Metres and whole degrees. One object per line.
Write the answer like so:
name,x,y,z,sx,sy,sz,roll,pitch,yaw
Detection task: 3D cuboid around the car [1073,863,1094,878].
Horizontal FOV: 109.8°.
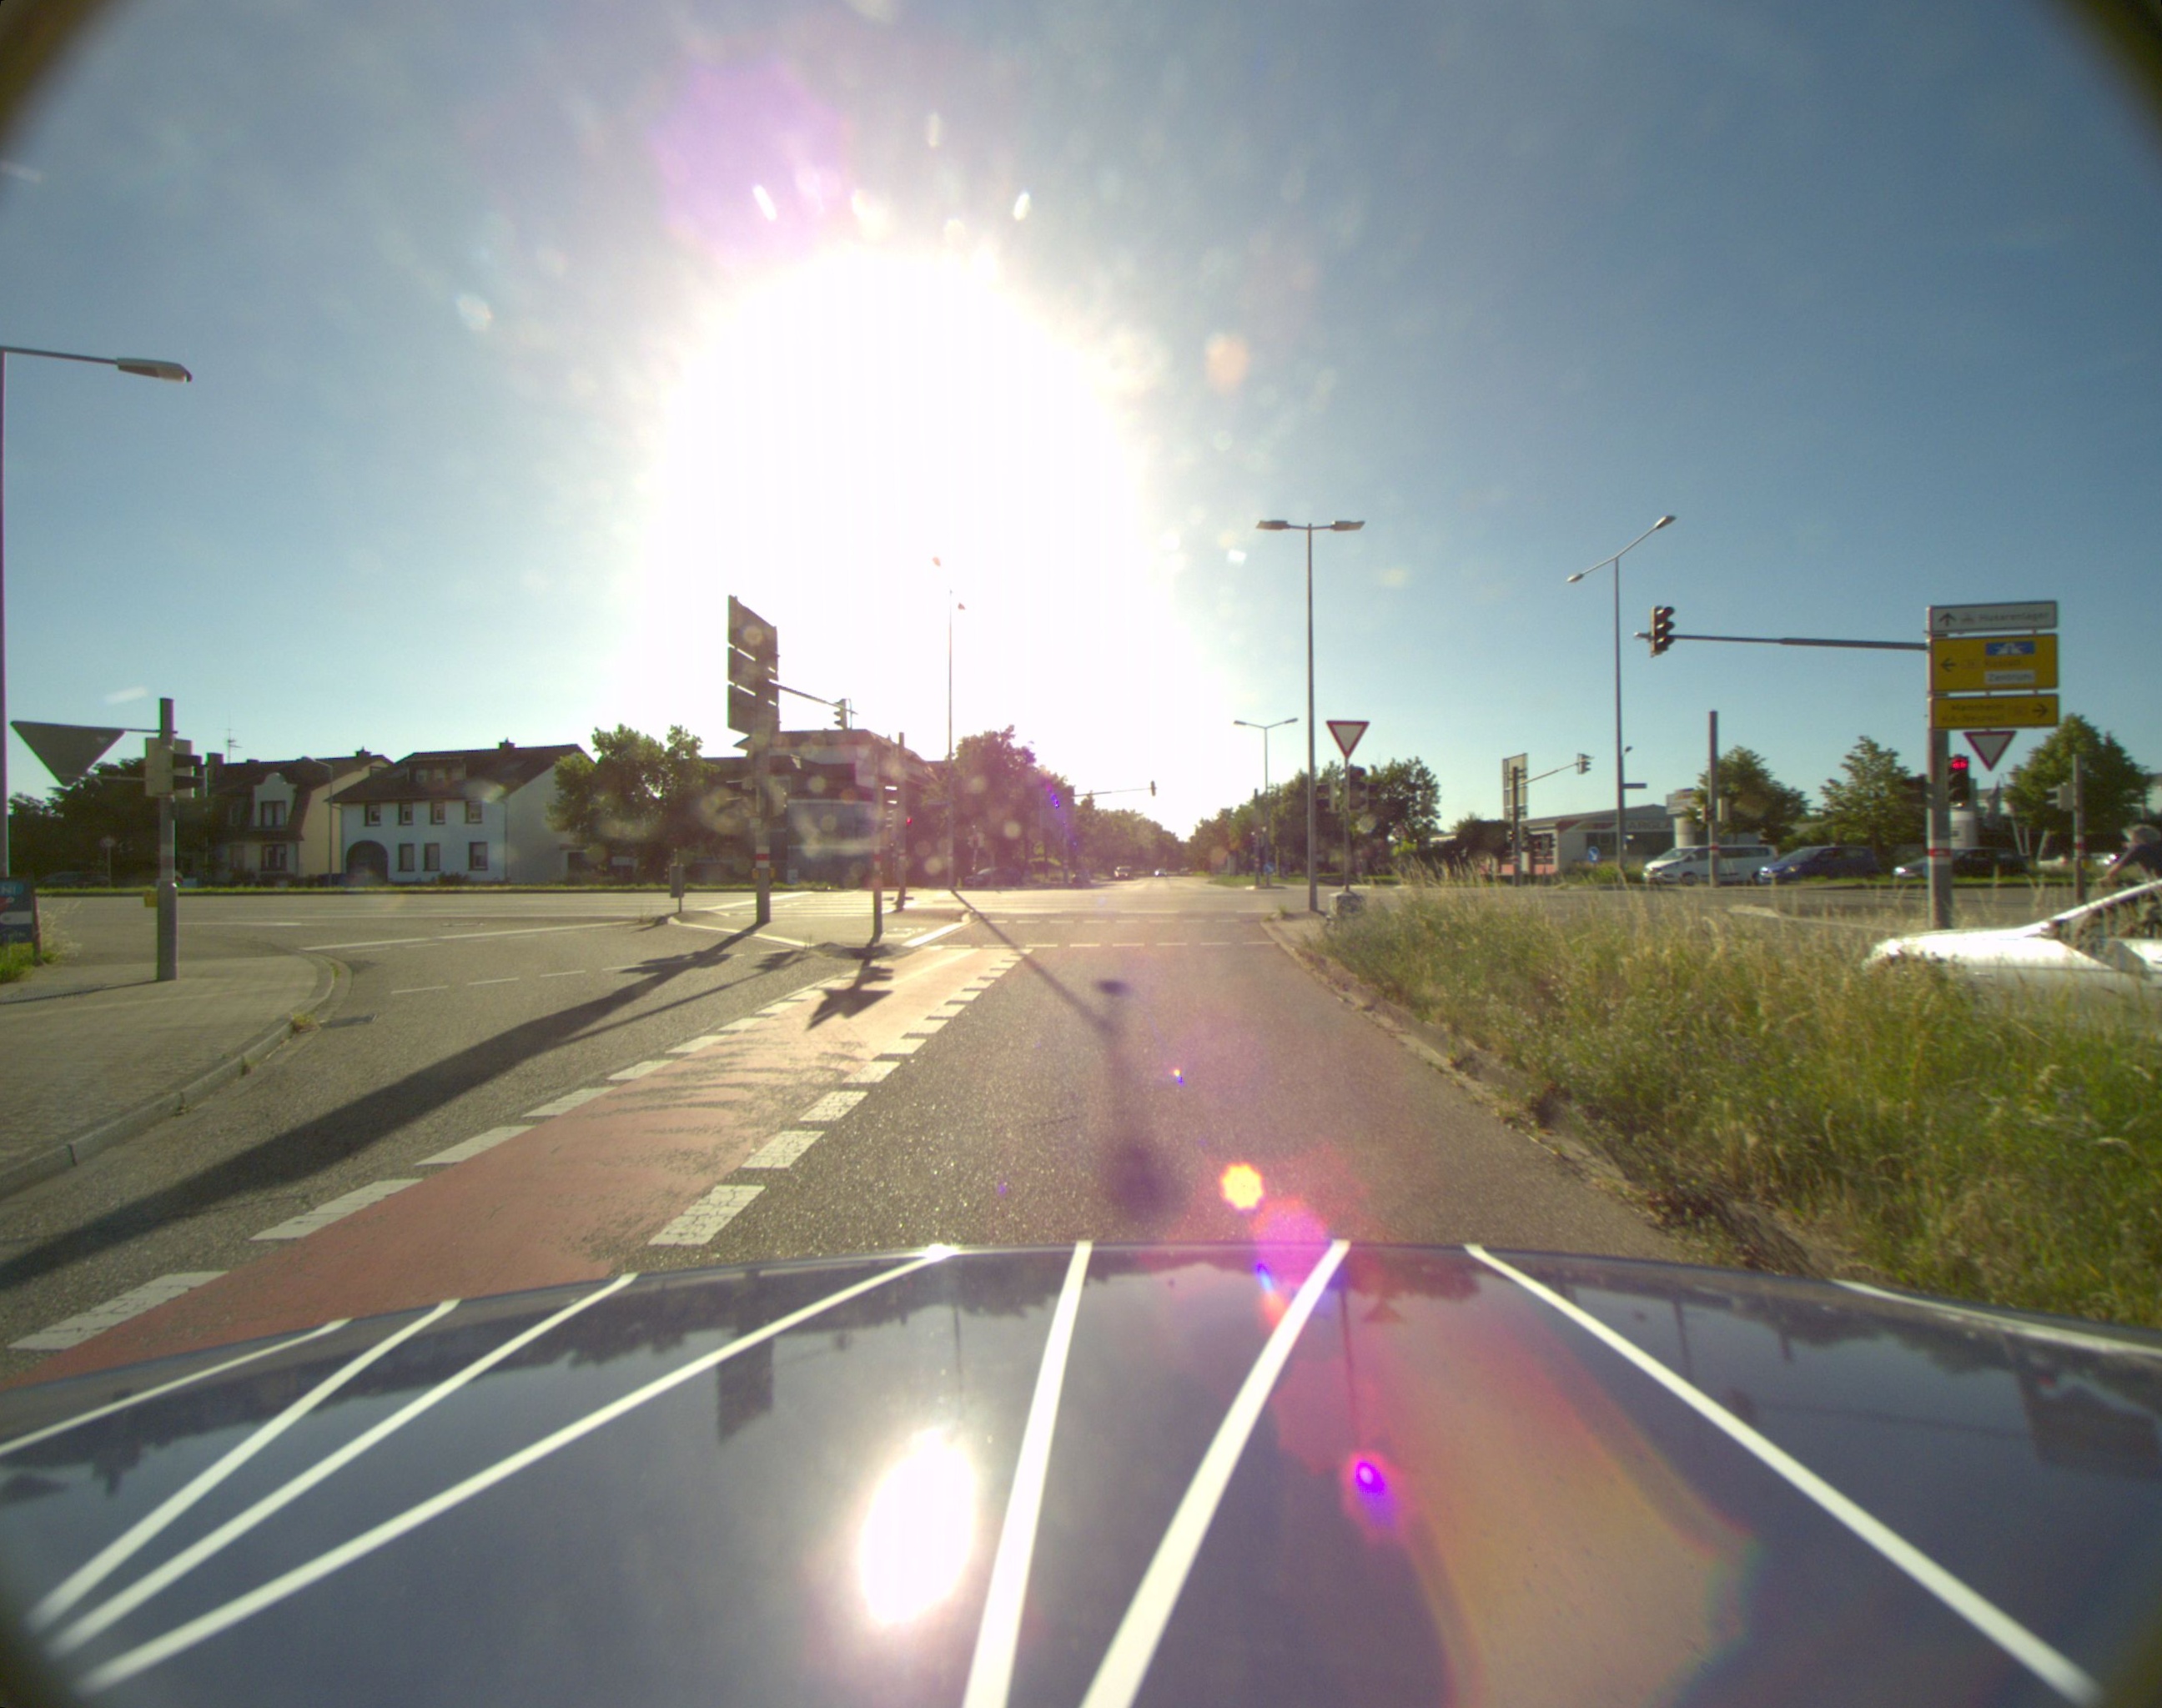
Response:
car,0.311,1.701,80.103,1.775,1.477,4.218,1,-1,7

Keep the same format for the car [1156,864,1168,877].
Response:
car,13.347,2.688,125.366,1.729,2.002,4.000,0,0,2

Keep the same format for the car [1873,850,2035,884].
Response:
car,33.742,0.535,29.460,4.036,1.267,1.894,0,-2,0

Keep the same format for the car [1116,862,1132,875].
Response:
car,5.412,1.822,95.371,1.775,1.477,4.218,1,-1,7

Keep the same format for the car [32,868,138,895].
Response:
car,-61.296,1.660,46.817,3.997,1.608,2.000,0,-1,1

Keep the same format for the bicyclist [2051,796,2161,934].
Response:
bicyclist,13.664,0.131,9.796,0.746,1.692,1.242,0,0,3

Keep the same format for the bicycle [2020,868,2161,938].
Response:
bicycle,13.663,0.615,9.786,0.750,0.842,1.991,0,0,3

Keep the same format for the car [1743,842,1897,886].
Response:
car,28.464,0.408,29.365,4.036,1.634,1.894,0,-2,0

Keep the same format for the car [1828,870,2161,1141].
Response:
car,7.026,0.879,4.088,1.797,1.497,4.532,0,0,4

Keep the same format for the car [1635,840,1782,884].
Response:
car,29.859,0.419,36.275,5.271,2.001,2.049,0,-2,0

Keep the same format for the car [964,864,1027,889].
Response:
car,-5.383,1.409,48.154,1.773,1.477,3.788,-2,-1,37
